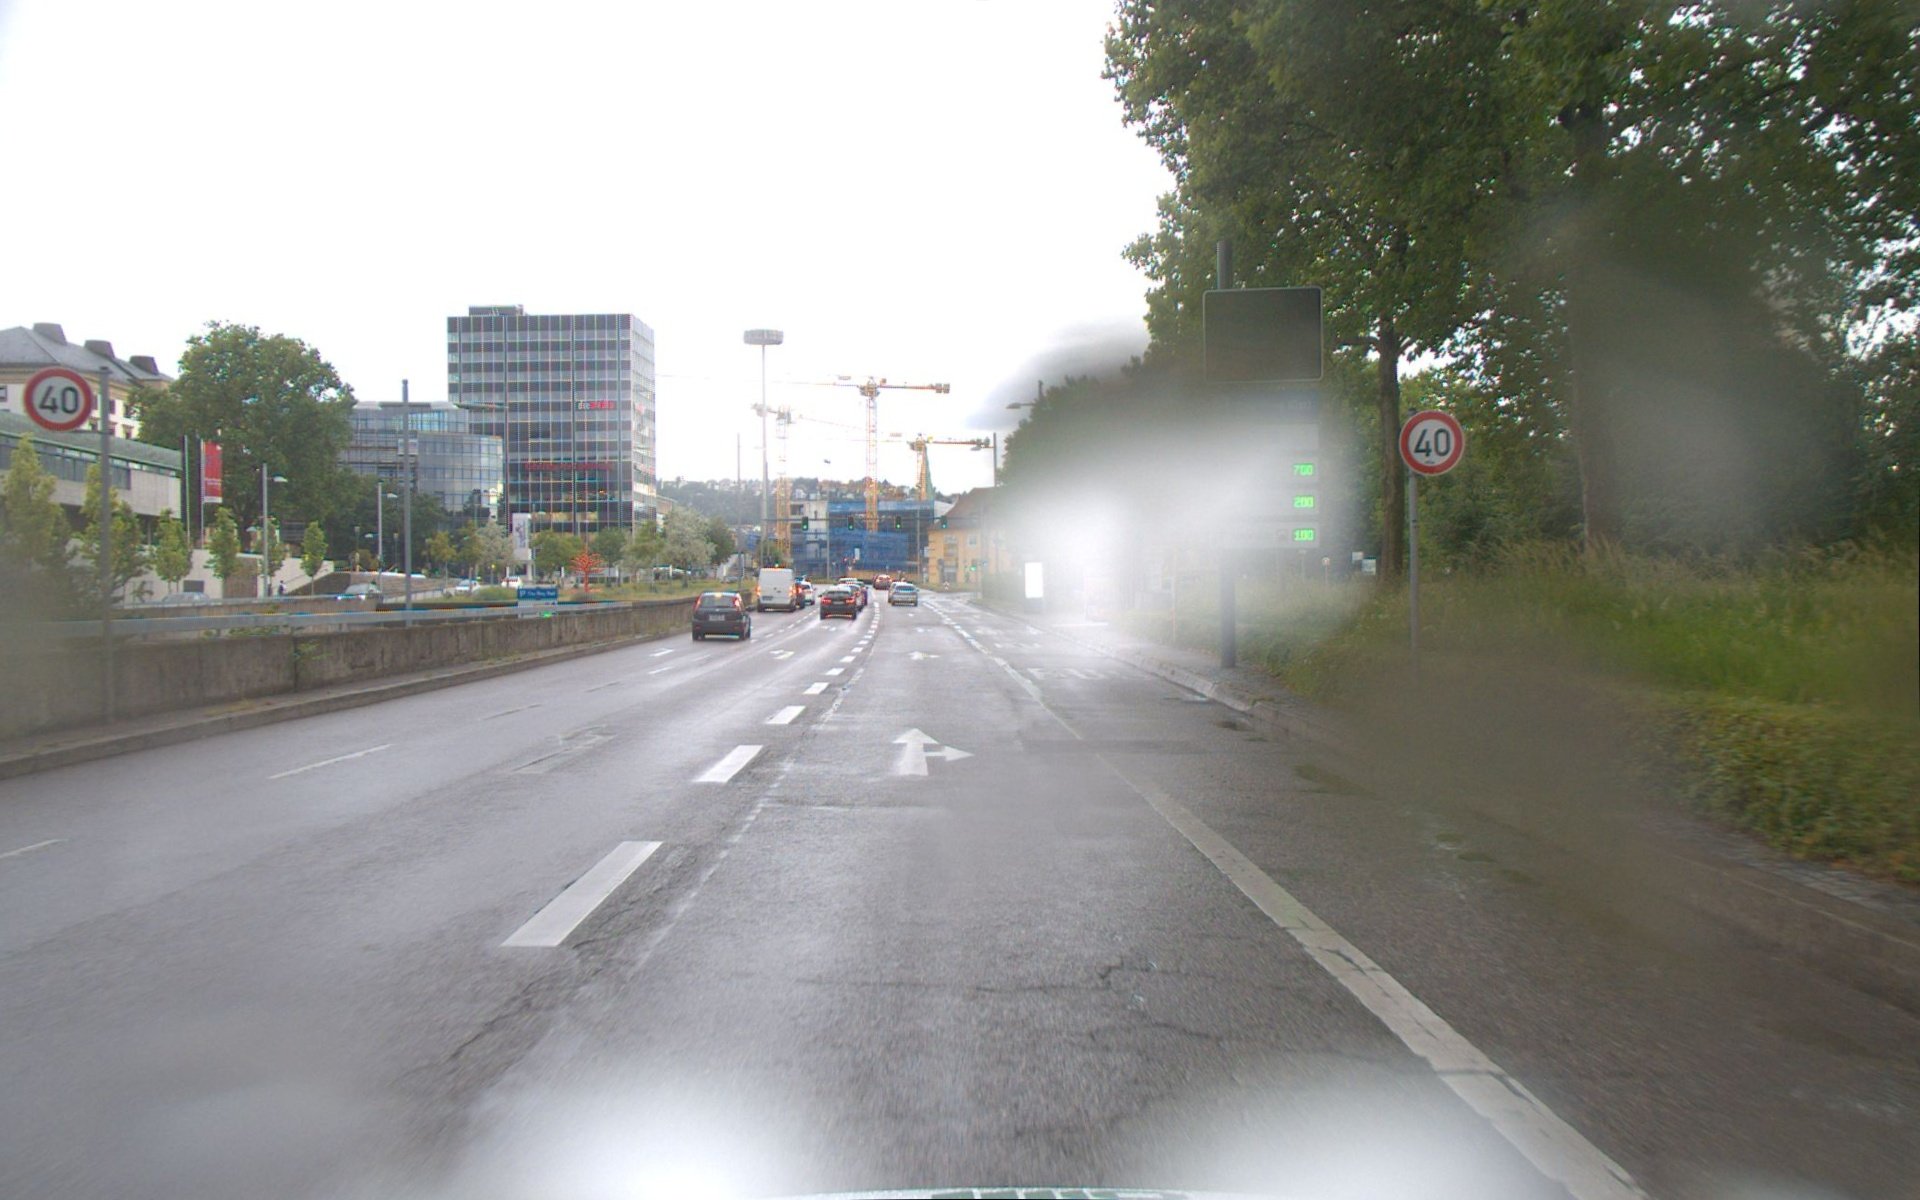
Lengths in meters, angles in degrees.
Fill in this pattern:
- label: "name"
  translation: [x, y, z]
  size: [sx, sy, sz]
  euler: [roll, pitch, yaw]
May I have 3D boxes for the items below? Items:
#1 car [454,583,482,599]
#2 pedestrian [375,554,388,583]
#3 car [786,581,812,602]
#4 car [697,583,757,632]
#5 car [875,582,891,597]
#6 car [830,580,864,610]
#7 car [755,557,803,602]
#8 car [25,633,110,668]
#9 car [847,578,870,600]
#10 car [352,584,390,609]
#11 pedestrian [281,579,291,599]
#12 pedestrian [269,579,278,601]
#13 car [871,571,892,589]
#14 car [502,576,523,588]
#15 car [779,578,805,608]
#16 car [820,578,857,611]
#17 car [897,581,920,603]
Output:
- label: "car"
  translation: [-42.551, -0.770, 143.073]
  size: [1.379, 1.277, 3.166]
  euler: [1, 0, 0]
- label: "pedestrian"
  translation: [-44.775, -2.450, 127.939]
  size: [0.752, 2.126, 0.726]
  euler: [1, 5, -3]
- label: "car"
  translation: [-10.488, -0.552, 107.990]
  size: [1.520, 1.282, 2.579]
  euler: [1, 0, -3]
- label: "car"
  translation: [-7.264, 0.239, 51.872]
  size: [1.511, 1.440, 3.899]
  euler: [1, 0, -3]
- label: "car"
  translation: [-5.466, -0.772, 117.646]
  size: [1.054, 1.007, 1.971]
  euler: [1, -1, 0]
- label: "car"
  translation: [-6.572, -0.259, 96.172]
  size: [1.844, 1.681, 3.454]
  euler: [1, 0, -6]
- label: "car"
  translation: [-9.967, -1.097, 91.316]
  size: [2.246, 2.354, 5.003]
  euler: [1, 0, -2]
- label: "car"
  translation: [-31.525, 1.755, 58.513]
  size: [1.458, 1.149, 3.049]
  euler: [1, 0, -3]
- label: "car"
  translation: [-6.726, -0.722, 109.669]
  size: [1.463, 1.393, 3.031]
  euler: [1, 0, -3]
- label: "car"
  translation: [-36.463, -0.203, 102.449]
  size: [1.435, 1.465, 2.961]
  euler: [1, 0, -3]
- label: "pedestrian"
  translation: [-48.018, -0.791, 117.806]
  size: [0.482, 1.448, 0.632]
  euler: [1, -1, -3]
- label: "pedestrian"
  translation: [-45.495, -0.654, 109.608]
  size: [0.459, 1.407, 0.574]
  euler: [1, -1, -18]
- label: "car"
  translation: [-8.369, -2.117, 176.670]
  size: [2.117, 1.912, 3.770]
  euler: [1, 0, 0]
- label: "car"
  translation: [-44.264, -1.792, 163.706]
  size: [1.411, 1.134, 3.019]
  euler: [1, 0, -3]
- label: "car"
  translation: [-9.956, -0.395, 97.955]
  size: [1.435, 1.736, 3.138]
  euler: [1, 0, -5]
- label: "car"
  translation: [-5.960, -0.277, 81.276]
  size: [1.719, 1.497, 4.219]
  euler: [1, 1, -4]
- label: "car"
  translation: [-3.422, -0.506, 109.482]
  size: [1.415, 1.383, 2.412]
  euler: [1, 0, 0]
